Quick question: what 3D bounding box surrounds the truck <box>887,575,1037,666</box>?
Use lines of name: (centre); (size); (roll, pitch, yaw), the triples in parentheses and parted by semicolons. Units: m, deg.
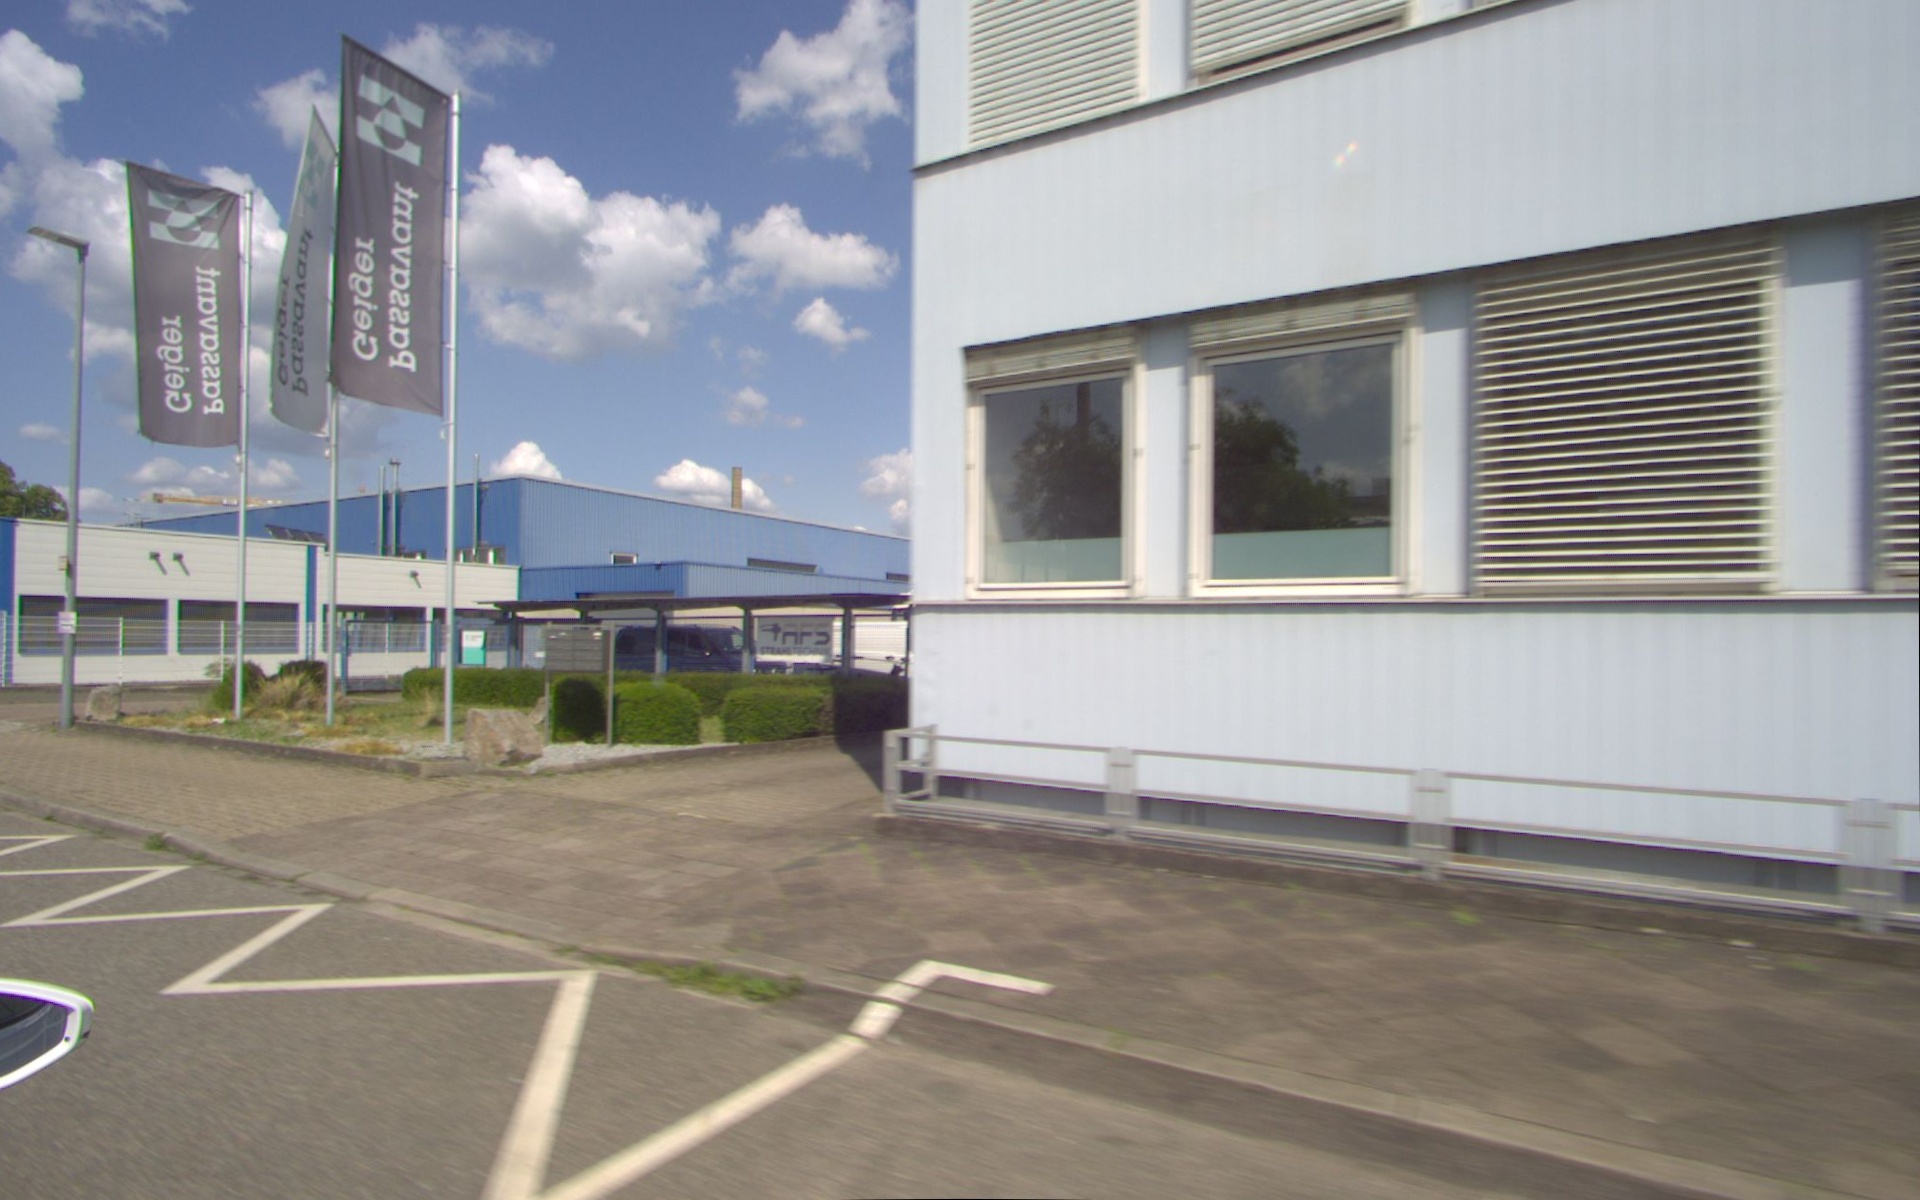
truck: (0.346, 1.044, 49.553); (2.592, 4.050, 9.613); (-1, -2, 33)

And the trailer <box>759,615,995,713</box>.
trailer: (-1.926, 1.393, 22.489); (5.197, 2.009, 1.685); (-1, -3, 29)
